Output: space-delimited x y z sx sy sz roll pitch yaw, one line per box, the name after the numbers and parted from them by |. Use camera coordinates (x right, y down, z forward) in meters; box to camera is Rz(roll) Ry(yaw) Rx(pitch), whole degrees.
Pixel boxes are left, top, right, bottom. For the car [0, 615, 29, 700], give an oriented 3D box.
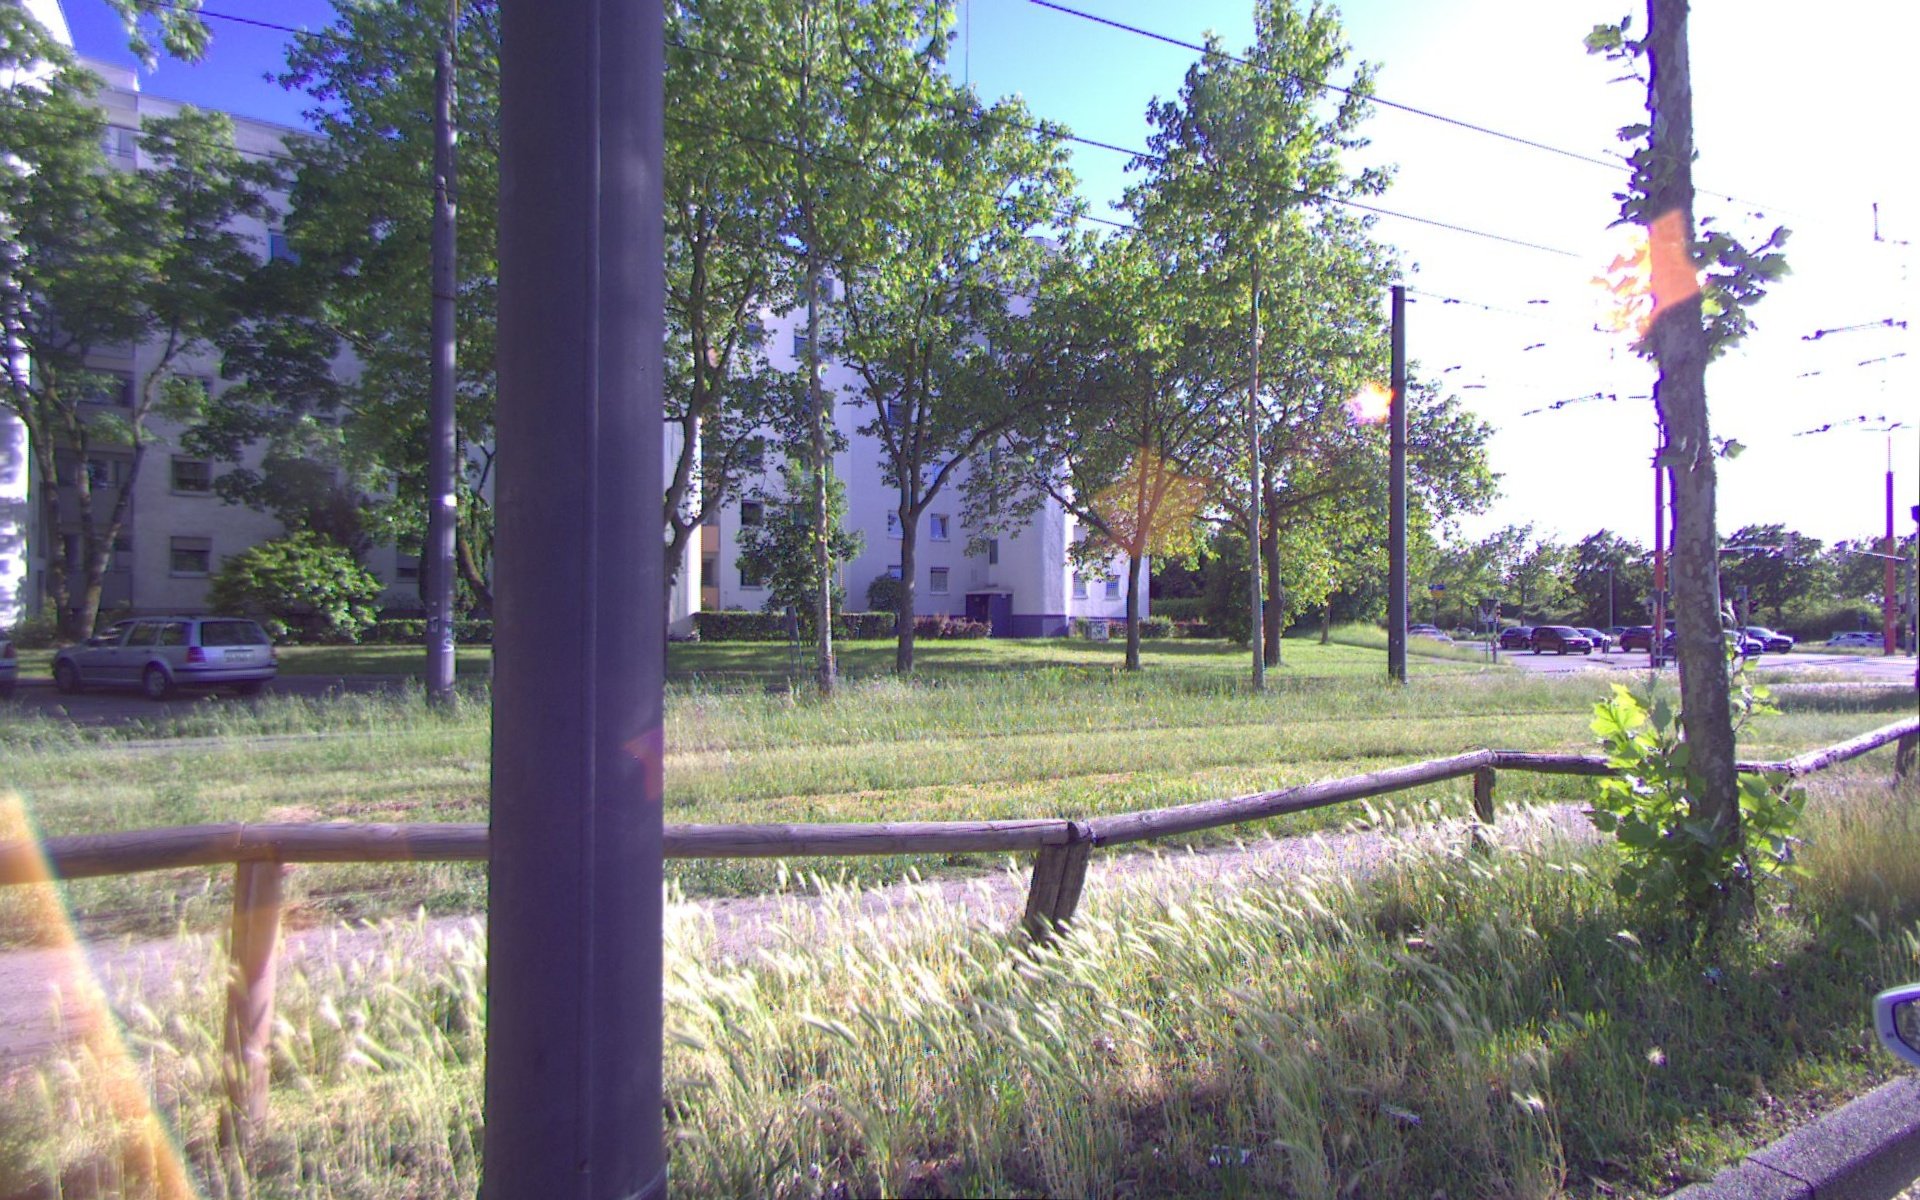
-17.987 0.948 17.158 3.567 1.421 1.581 1 0 20 | car

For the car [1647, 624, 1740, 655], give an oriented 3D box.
42.610 2.279 58.499 1.723 1.669 4.640 1 -1 -5 | car

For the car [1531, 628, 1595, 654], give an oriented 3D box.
39.129 2.612 65.275 1.624 1.540 4.200 1 -1 1 | car

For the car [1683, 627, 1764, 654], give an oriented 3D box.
45.574 2.392 60.062 1.513 1.434 4.154 1 -1 -3 | car

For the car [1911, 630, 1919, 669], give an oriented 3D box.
39.186 1.975 38.496 1.623 1.540 4.201 1 -1 3 | car

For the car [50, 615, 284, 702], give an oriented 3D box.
-14.537 1.011 18.432 3.830 1.421 1.581 1 0 20 | car

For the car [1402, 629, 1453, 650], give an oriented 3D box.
38.377 3.193 82.580 1.907 1.540 4.850 1 -1 1 | car

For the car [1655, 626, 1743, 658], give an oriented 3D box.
39.191 2.217 53.398 1.624 1.540 4.200 1 -1 1 | car

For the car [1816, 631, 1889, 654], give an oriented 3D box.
63.785 3.041 71.894 1.625 1.476 3.925 1 -1 -3 | car

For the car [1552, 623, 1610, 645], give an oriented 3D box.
45.303 2.457 73.330 1.513 1.434 4.154 1 -1 -3 | car

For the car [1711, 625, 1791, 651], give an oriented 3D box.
48.653 2.321 61.896 1.513 1.434 4.154 1 -1 -3 | car

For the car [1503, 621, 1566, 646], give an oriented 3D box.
42.229 2.444 73.967 1.723 1.669 4.640 1 -1 -5 | car
